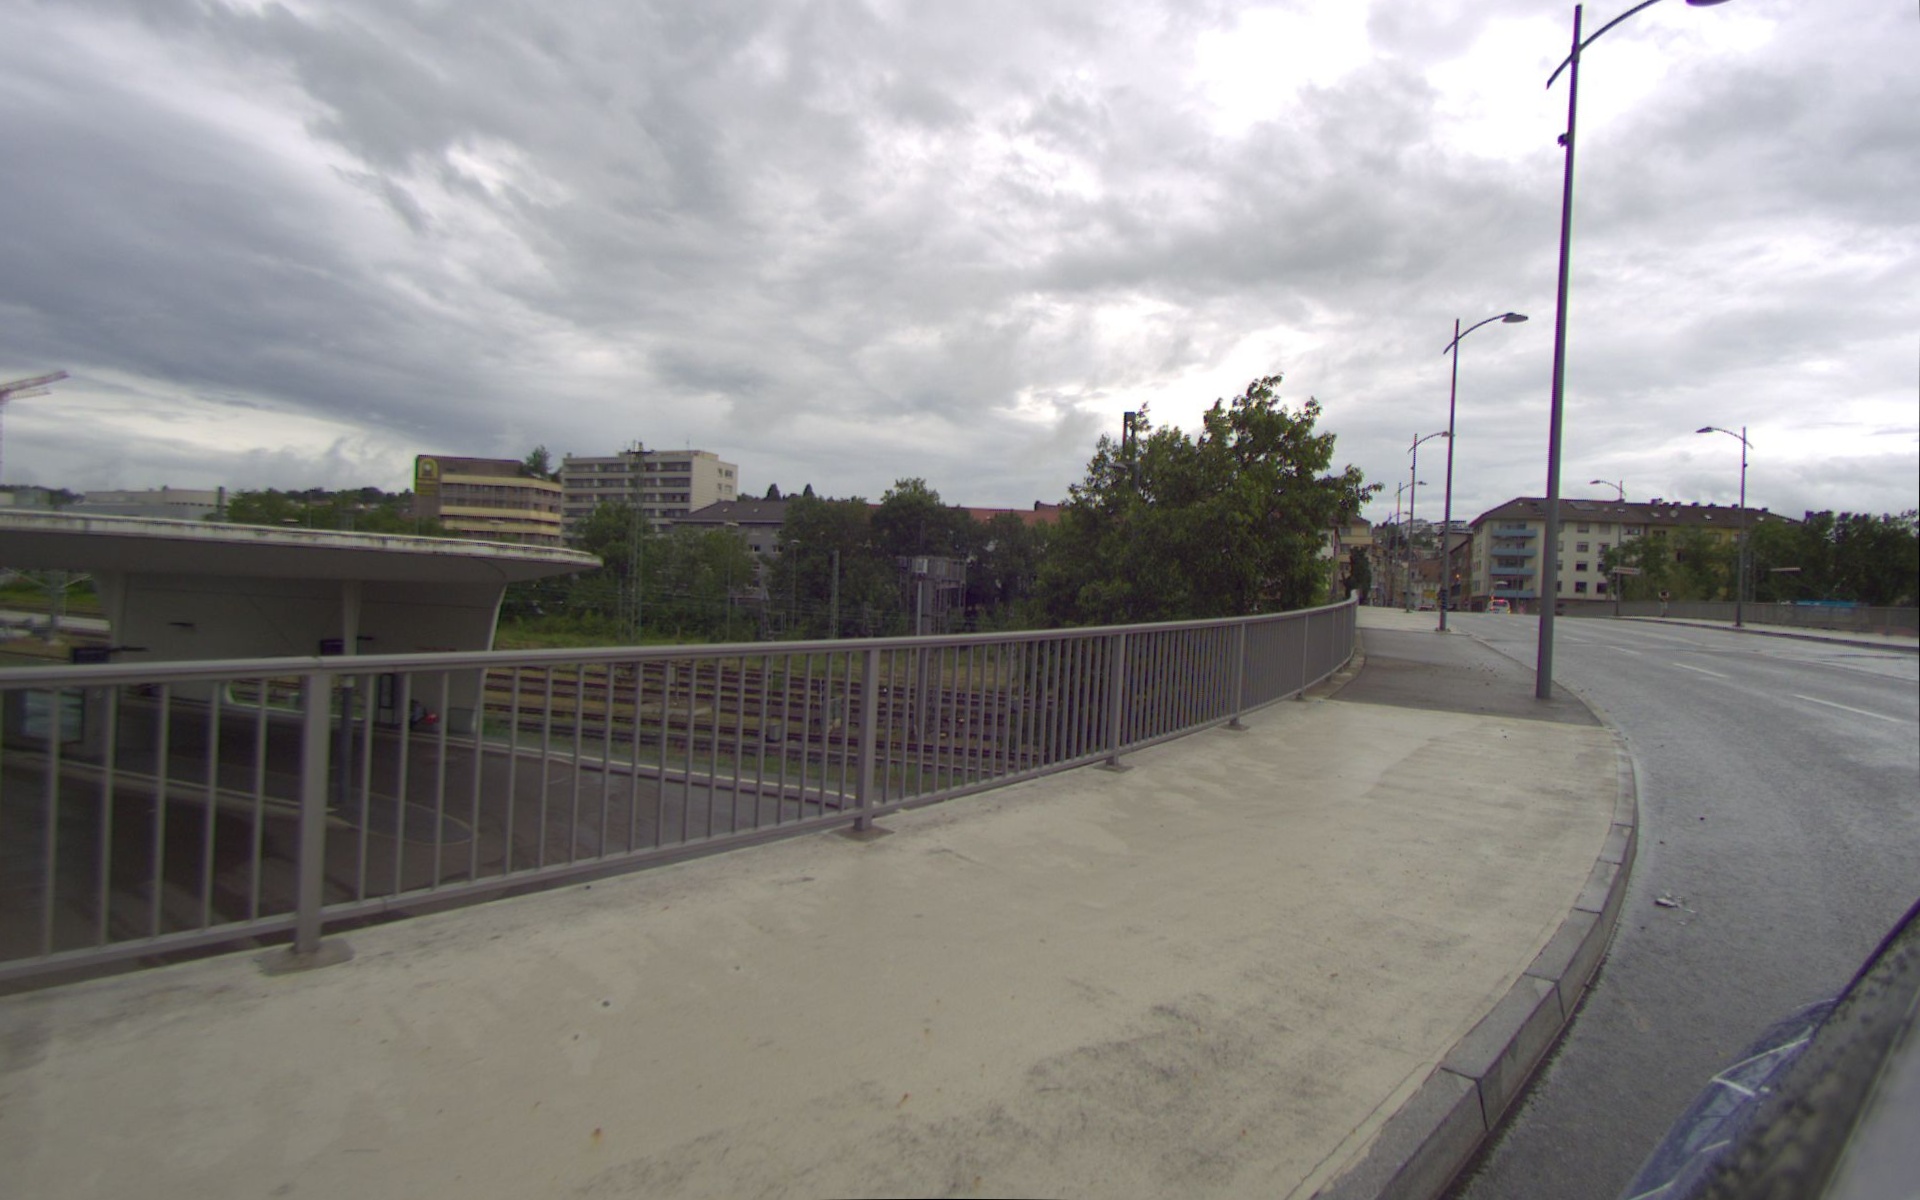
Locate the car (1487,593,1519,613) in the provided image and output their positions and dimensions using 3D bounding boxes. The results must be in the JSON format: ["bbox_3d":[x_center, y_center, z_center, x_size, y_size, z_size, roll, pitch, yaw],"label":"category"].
[{"bbox_3d":[55.579,0.365,103.575,1.867,1.846,4.929,-1,-2,17],"label":"car"}]
